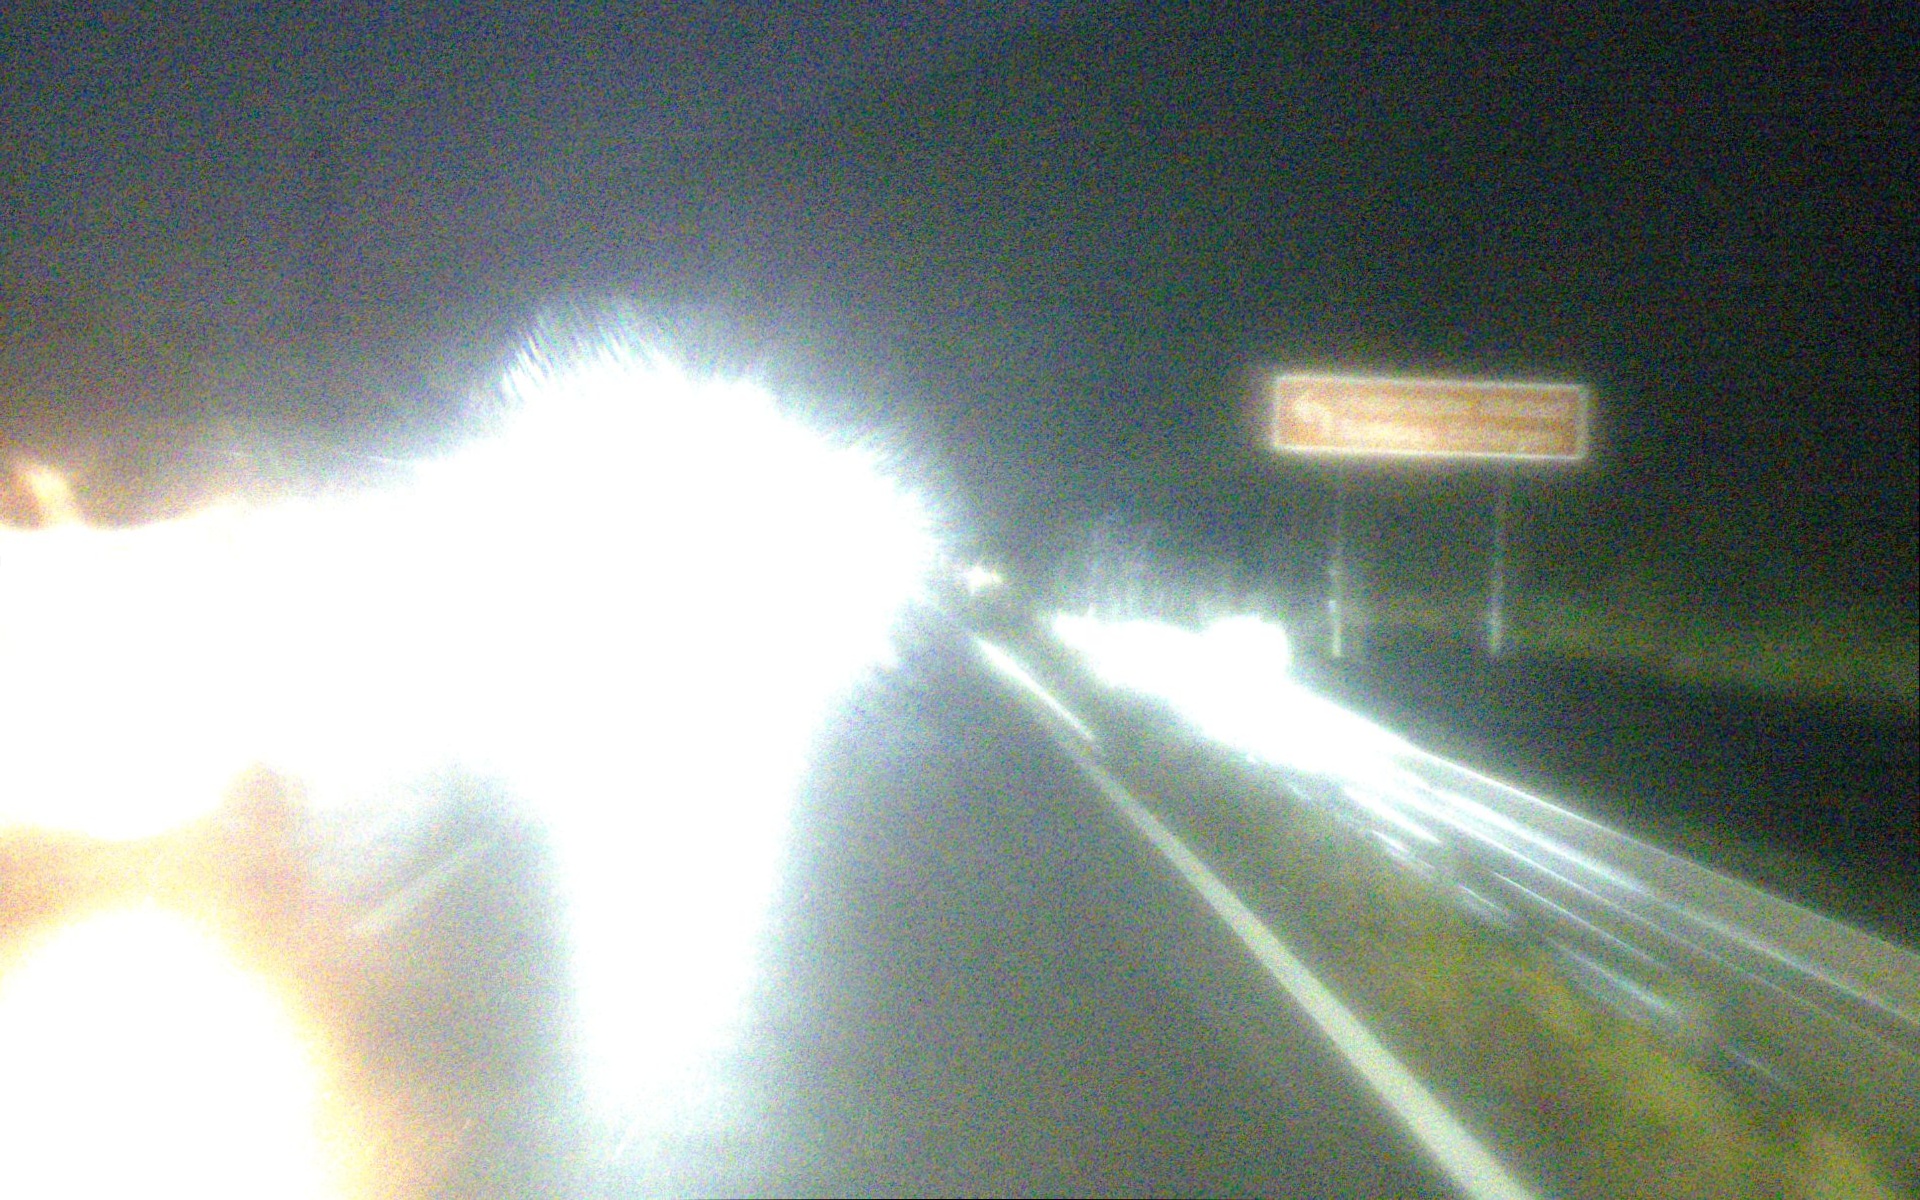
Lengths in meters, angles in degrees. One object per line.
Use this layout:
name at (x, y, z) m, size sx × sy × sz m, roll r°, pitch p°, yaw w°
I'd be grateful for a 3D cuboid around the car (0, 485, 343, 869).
car at (-4.186, 0.279, 16.414) m, size 1.868 × 1.607 × 3.847 m, roll 1°, pitch 1°, yaw -1°

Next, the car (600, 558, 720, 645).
car at (-5.323, 0.006, 61.486) m, size 1.868 × 1.443 × 4.393 m, roll 1°, pitch 1°, yaw -2°
